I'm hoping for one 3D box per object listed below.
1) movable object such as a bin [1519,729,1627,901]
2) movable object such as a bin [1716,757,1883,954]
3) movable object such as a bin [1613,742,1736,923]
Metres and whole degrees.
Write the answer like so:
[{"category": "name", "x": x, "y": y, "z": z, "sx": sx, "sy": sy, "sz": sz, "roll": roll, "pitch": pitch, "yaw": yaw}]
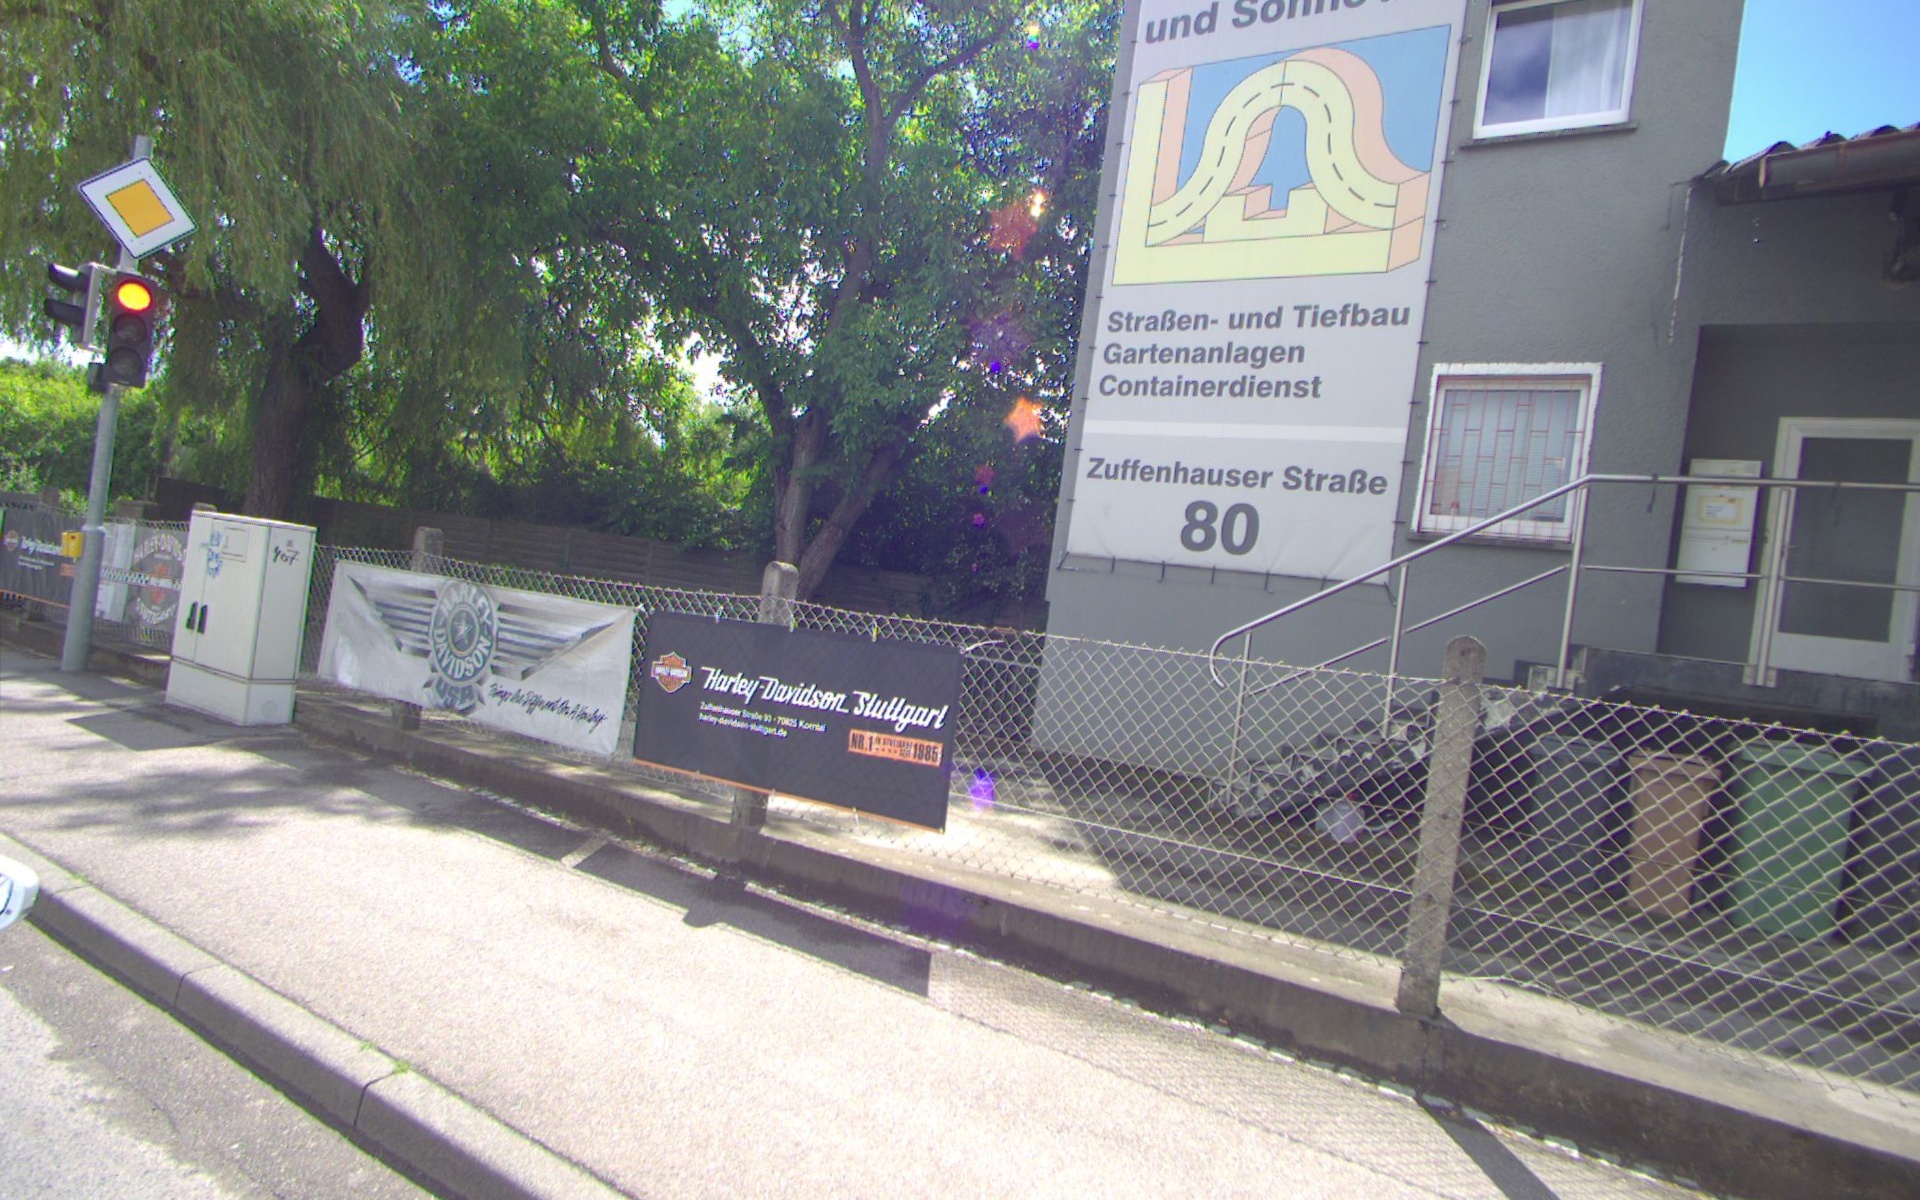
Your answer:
[{"category": "movable object such as a bin", "x": 3.814, "y": 1.317, "z": 6.288, "sx": 0.466, "sy": 0.941, "sz": 0.482, "roll": 7, "pitch": -1, "yaw": 30}, {"category": "movable object such as a bin", "x": 4.755, "y": 1.419, "z": 5.734, "sx": 0.574, "sy": 0.941, "sz": 0.482, "roll": 6, "pitch": -1, "yaw": 30}, {"category": "movable object such as a bin", "x": 4.259, "y": 1.365, "z": 6.025, "sx": 0.466, "sy": 0.941, "sz": 0.482, "roll": 7, "pitch": -1, "yaw": 30}]
